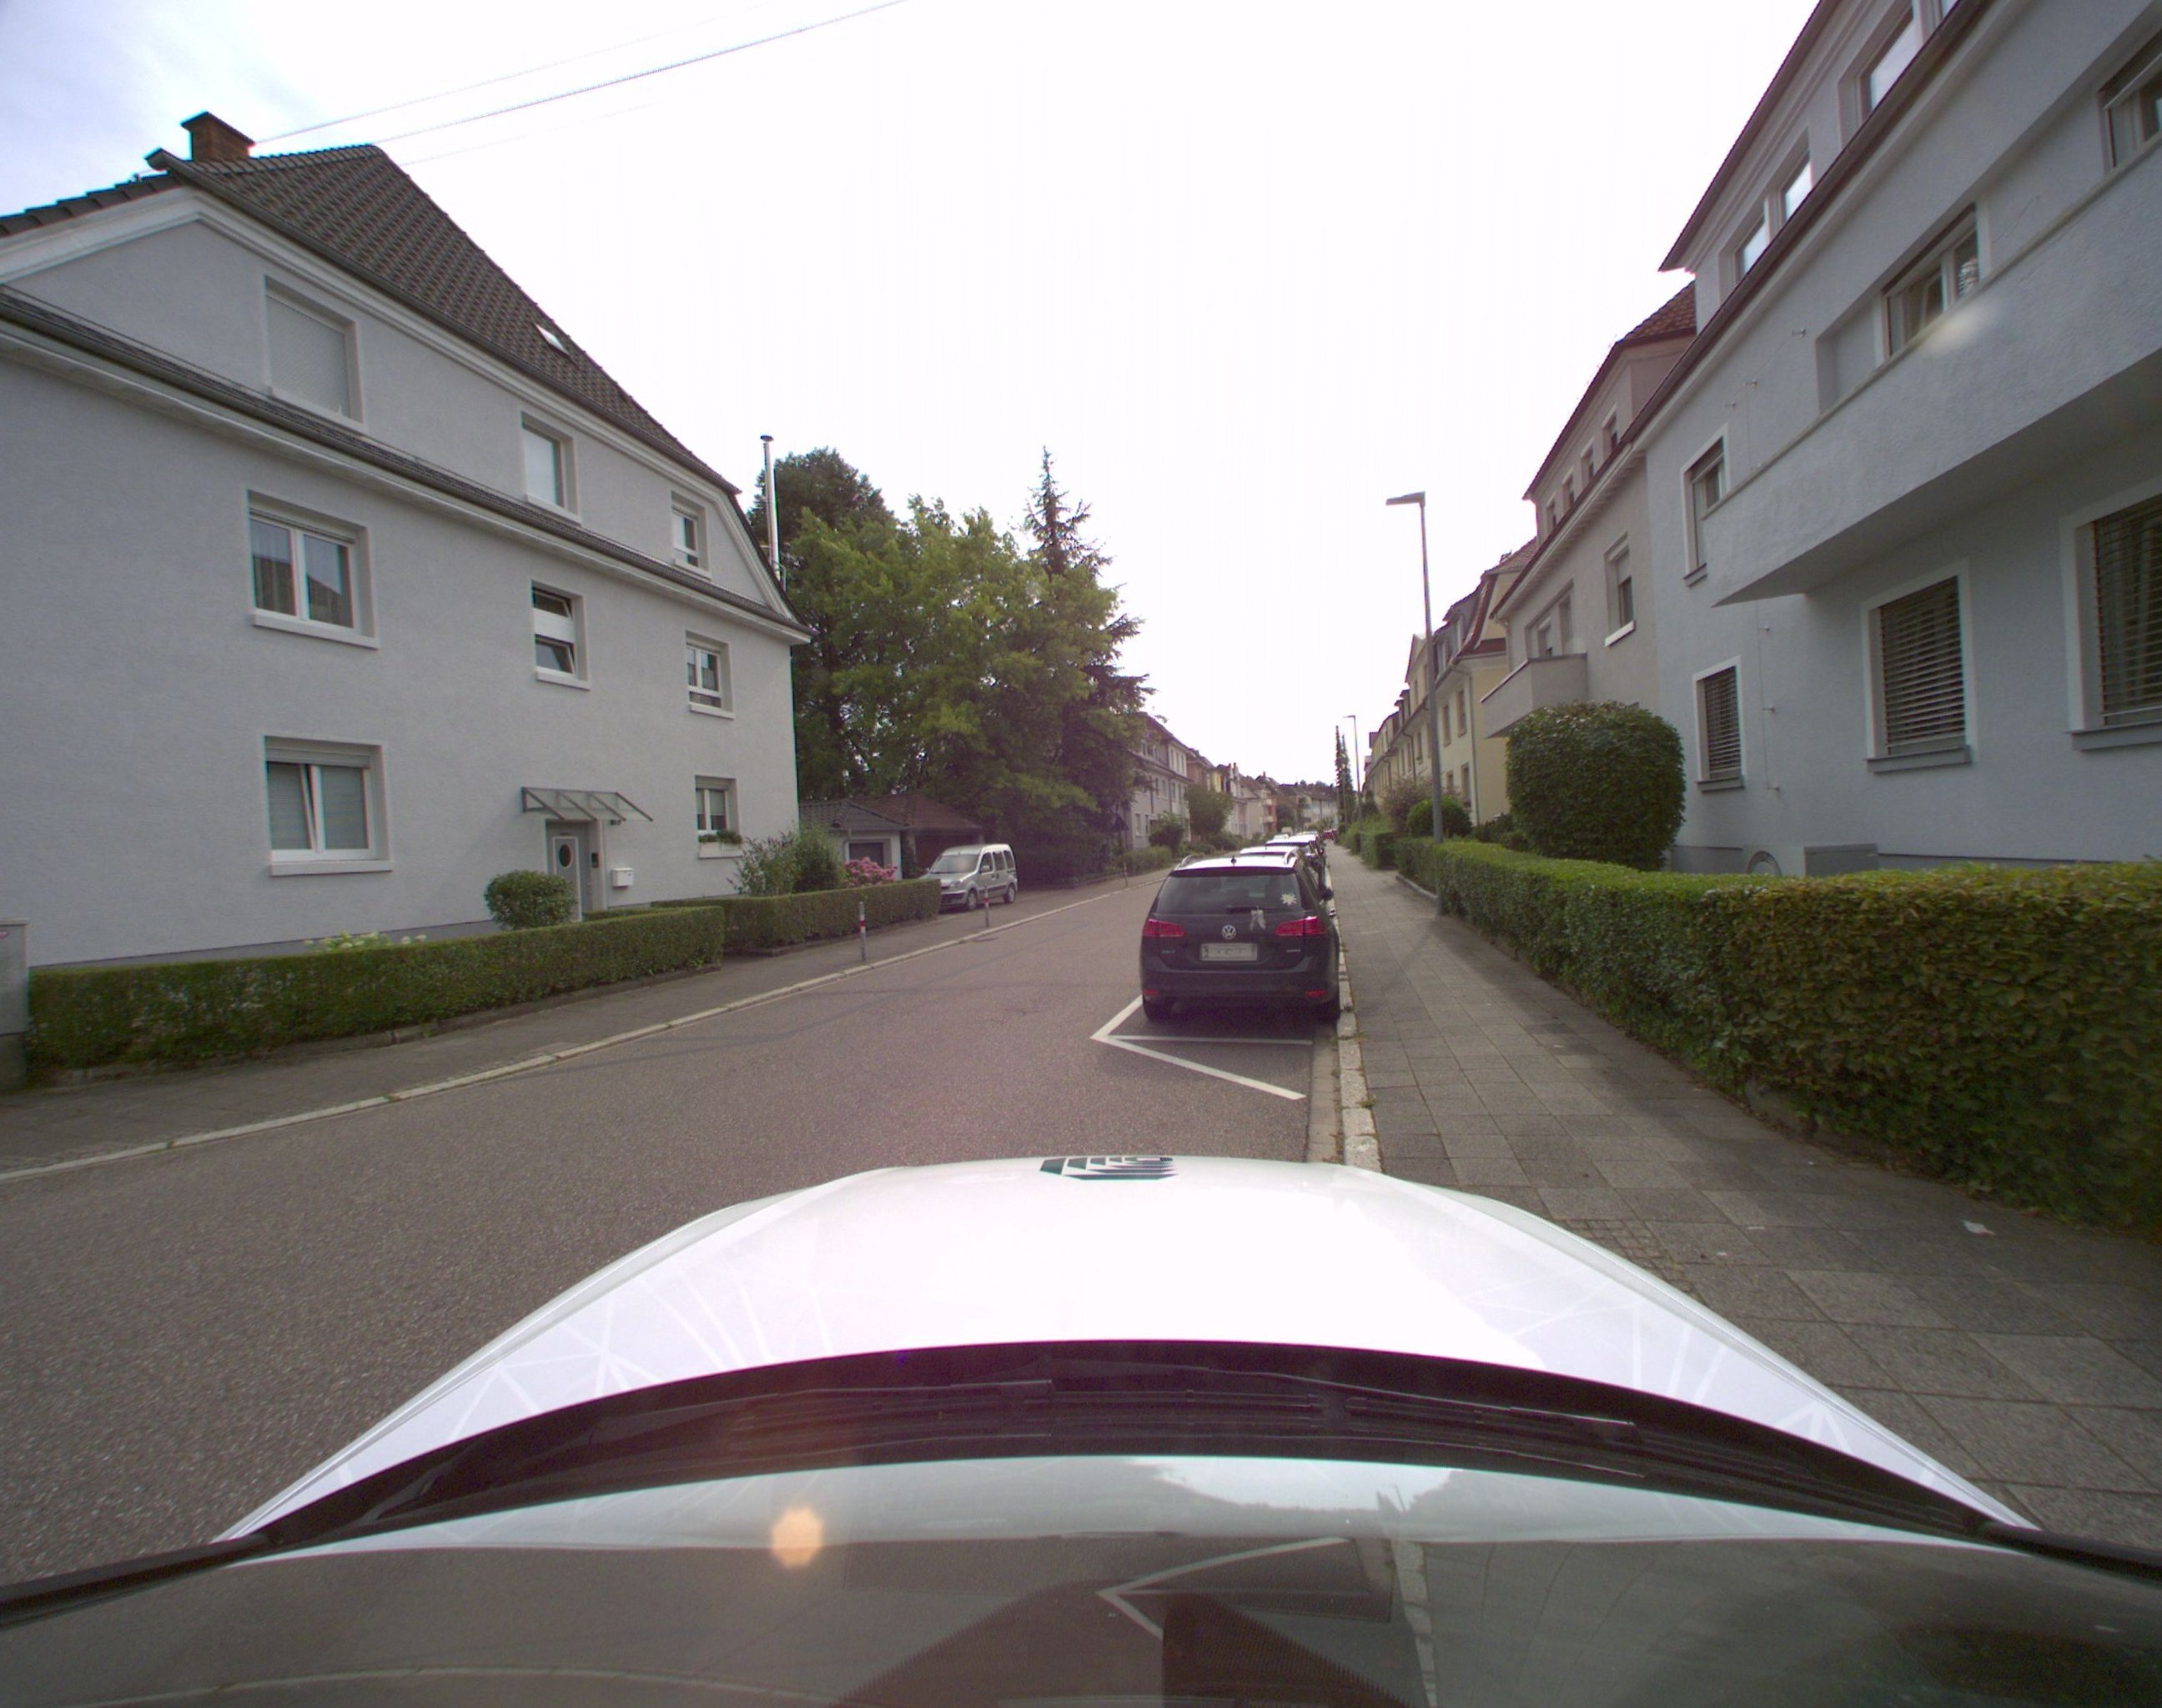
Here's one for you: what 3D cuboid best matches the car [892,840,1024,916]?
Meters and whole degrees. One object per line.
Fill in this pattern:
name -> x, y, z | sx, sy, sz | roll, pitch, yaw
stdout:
car -> -3.377, 0.599, 23.168 | 1.977, 1.837, 4.019 | -3, 1, 18

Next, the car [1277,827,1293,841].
car -> 30.968, -3.034, 123.661 | 1.977, 2.013, 4.020 | -3, 0, 19

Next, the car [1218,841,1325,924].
car -> 4.281, 0.531, 17.827 | 1.839, 1.471, 4.195 | -3, 1, 18

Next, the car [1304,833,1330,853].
car -> 19.396, -0.943, 66.909 | 1.839, 1.471, 4.195 | -3, 1, 18

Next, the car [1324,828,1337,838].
car -> 41.729, -3.483, 136.176 | 1.839, 1.578, 4.195 | -3, 1, 18

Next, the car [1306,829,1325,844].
car -> 26.080, -1.962, 90.604 | 1.839, 1.578, 4.194 | -3, 1, 17

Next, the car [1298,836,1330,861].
car -> 15.752, -0.409, 55.030 | 1.839, 1.471, 4.195 | -3, 1, 18

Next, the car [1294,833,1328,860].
car -> 14.404, -0.499, 50.866 | 1.839, 1.471, 4.195 | -3, 1, 18

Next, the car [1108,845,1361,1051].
car -> 1.641, 0.731, 8.332 | 1.841, 1.471, 4.191 | -3, 1, 13

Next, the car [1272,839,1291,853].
car -> 27.455, -1.117, 111.310 | 1.977, 1.640, 4.021 | -3, 1, 20

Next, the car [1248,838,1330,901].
car -> 5.859, 0.358, 22.611 | 1.839, 1.471, 4.195 | -3, 1, 18

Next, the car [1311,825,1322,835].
car -> 52.171, -5.336, 180.497 | 1.977, 2.123, 4.021 | -3, 1, 20

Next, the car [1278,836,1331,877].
car -> 9.329, 0.064, 33.771 | 1.839, 1.471, 4.195 | -3, 1, 18

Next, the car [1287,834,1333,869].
car -> 11.052, -0.143, 39.119 | 1.839, 1.471, 4.195 | -3, 1, 18
